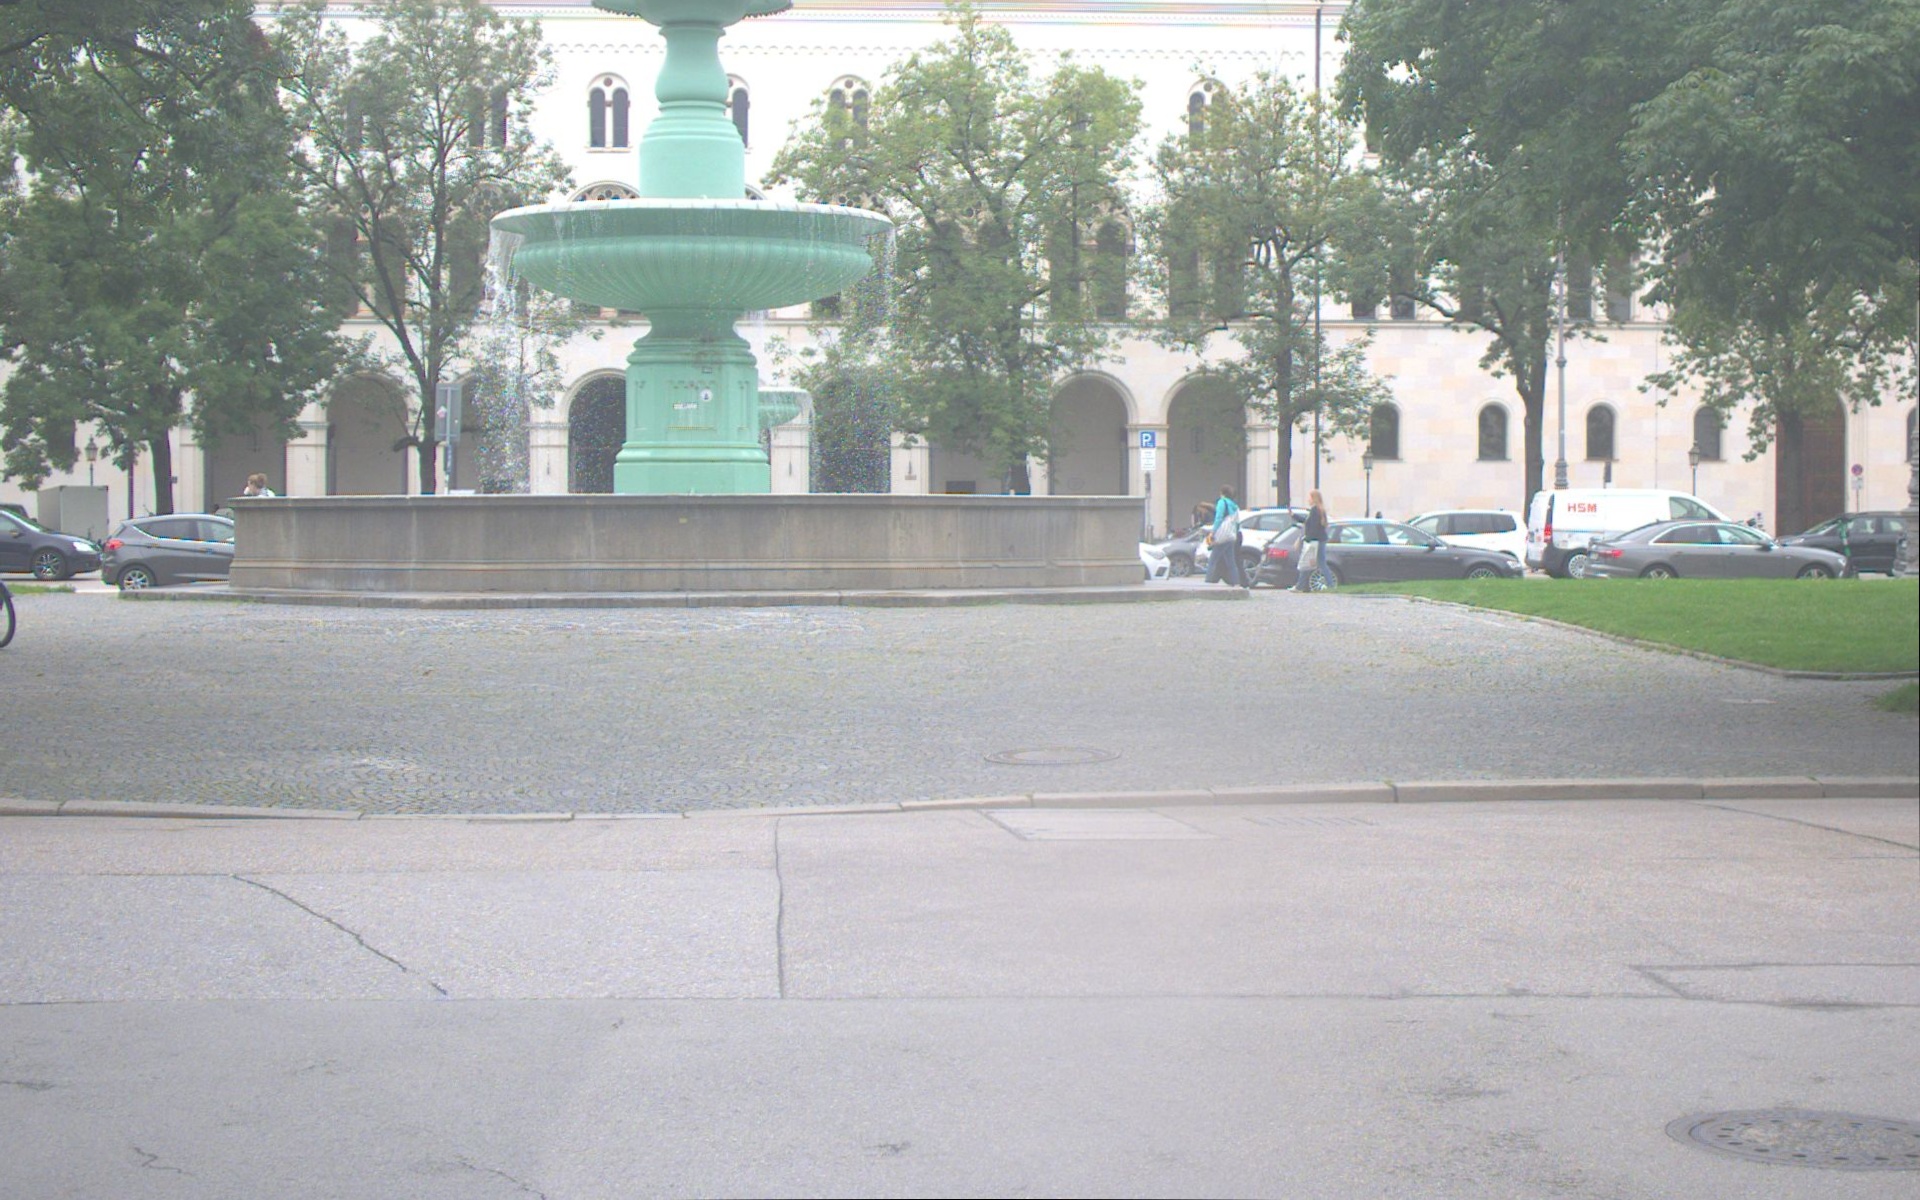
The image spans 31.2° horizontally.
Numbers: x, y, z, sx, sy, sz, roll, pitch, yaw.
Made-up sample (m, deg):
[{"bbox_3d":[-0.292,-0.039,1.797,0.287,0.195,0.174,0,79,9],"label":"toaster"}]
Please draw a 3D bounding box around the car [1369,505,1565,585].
[{"bbox_3d":[11.627,-1.273,78.968,4.096,1.735,1.747,1,2,-7],"label":"car"}]

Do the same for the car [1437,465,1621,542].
[{"bbox_3d":[13.761,-2.331,83.246,3.986,1.777,1.932,1,2,-5],"label":"car"}]

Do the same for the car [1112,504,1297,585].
[{"bbox_3d":[5.576,-1.280,78.784,3.986,1.744,1.809,1,2,-4],"label":"car"}]

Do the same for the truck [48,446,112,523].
[{"bbox_3d":[-28.983,-3.799,113.222,1.993,2.480,4.002,0,2,-14],"label":"truck"}]

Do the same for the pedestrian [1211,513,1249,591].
[{"bbox_3d":[4.241,-0.763,54.023,0.443,1.210,0.535,1,2,23],"label":"pedestrian"}]

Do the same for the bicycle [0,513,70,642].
[{"bbox_3d":[-8.672,-0.212,30.035,1.619,1.095,0.616,1,2,8],"label":"bicycle"}]

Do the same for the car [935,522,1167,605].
[{"bbox_3d":[1.570,-0.655,60.360,3.987,1.398,1.825,0,2,-1],"label":"car"}]

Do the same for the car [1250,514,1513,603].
[{"bbox_3d":[7.397,-0.738,60.606,4.357,1.519,1.804,0,2,-2],"label":"car"}]

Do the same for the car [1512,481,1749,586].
[{"bbox_3d":[13.323,-1.336,68.450,4.326,2.006,1.824,1,2,0],"label":"car"}]

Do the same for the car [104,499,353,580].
[{"bbox_3d":[-12.611,-1.058,59.486,3.986,1.371,2.001,0,2,-5],"label":"car"}]

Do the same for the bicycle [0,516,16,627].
[{"bbox_3d":[-9.618,-0.279,31.829,1.536,1.016,0.698,1,2,8],"label":"bicycle"}]

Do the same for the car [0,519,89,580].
[{"bbox_3d":[-22.001,-1.176,78.996,3.671,1.371,1.603,0,2,-6],"label":"car"}]

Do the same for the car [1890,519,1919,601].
[{"bbox_3d":[18.919,-0.718,60.950,4.357,1.413,1.804,0,2,-2],"label":"car"}]

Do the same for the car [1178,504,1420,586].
[{"bbox_3d":[6.385,-1.053,65.120,4.357,1.519,1.804,0,2,-2],"label":"car"}]

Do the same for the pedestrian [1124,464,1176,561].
[{"bbox_3d":[3.970,-1.825,71.778,0.906,2.006,0.687,1,2,-11],"label":"pedestrian"}]

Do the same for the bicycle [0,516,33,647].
[{"bbox_3d":[-8.882,-0.179,29.368,1.710,1.095,0.698,1,2,8],"label":"bicycle"}]

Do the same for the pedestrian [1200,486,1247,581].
[{"bbox_3d":[4.078,-1.036,53.172,0.582,1.460,0.547,1,2,20],"label":"pedestrian"}]

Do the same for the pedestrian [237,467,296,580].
[{"bbox_3d":[-10.106,-1.122,50.127,0.750,1.634,0.710,0,2,-4],"label":"pedestrian"}]

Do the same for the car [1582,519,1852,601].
[{"bbox_3d":[13.394,-0.715,60.982,4.357,1.413,1.804,0,2,-2],"label":"car"}]
